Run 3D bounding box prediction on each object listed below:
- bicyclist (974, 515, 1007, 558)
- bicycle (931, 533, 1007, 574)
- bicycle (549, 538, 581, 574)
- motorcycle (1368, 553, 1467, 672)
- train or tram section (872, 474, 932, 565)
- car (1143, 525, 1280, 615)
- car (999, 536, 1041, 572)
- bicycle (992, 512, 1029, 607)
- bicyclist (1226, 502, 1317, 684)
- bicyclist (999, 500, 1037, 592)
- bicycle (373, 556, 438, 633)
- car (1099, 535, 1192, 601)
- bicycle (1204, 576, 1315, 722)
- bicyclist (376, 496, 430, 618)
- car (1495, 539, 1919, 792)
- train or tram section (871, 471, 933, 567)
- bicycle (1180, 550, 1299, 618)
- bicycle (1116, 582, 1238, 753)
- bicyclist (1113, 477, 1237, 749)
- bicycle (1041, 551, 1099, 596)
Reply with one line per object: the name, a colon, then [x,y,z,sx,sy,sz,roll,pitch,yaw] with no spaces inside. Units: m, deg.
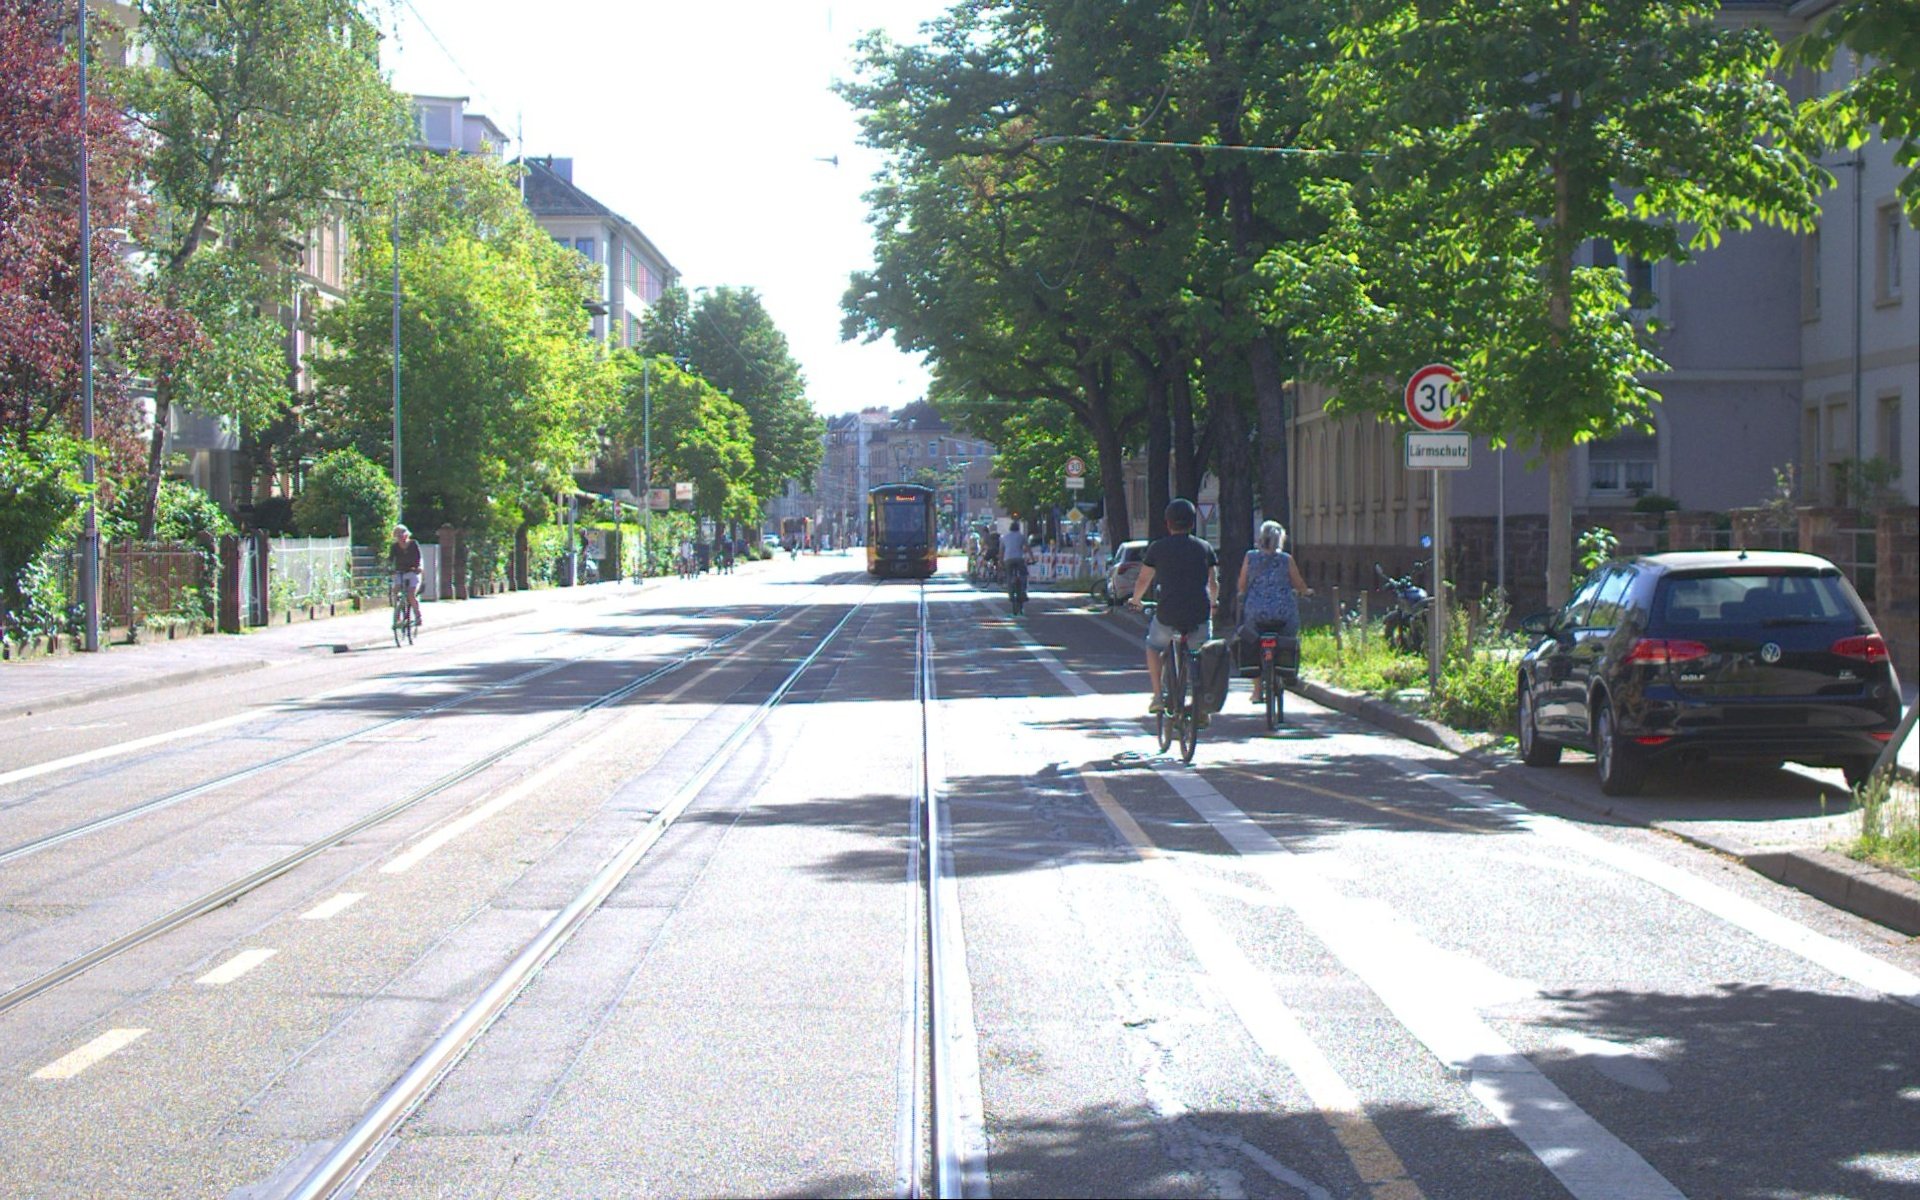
bicyclist: [0.928,-1.921,104.399,0.772,1.287,0.733,2,1,16]
bicycle: [0.270,-1.407,104.648,2.141,1.167,0.802,2,1,15]
bicycle: [-12.244,-1.364,106.519,0.632,1.065,1.832,2,1,-17]
motorcycle: [4.826,0.117,36.320,0.495,1.186,1.862,-3,2,-8]
train or tram section: [-2.272,-3.154,135.030,2.153,3.420,6.612,2,1,-1]
car: [4.119,-0.525,56.999,1.628,1.431,4.666,0,1,-4]
car: [2.760,-2.133,158.730,1.754,1.546,3.677,2,1,-1]
bicycle: [1.013,-0.825,69.061,0.663,1.853,2.260,2,1,1]
bicyclist: [2.575,-0.064,28.450,0.635,1.463,0.616,2,1,-1]
bicyclist: [1.149,-1.069,68.359,0.645,1.789,0.956,2,1,-1]
bicycle: [-8.294,-0.090,51.454,0.692,1.108,1.719,-1,1,-1]
car: [4.071,-0.726,76.002,1.748,1.415,4.000,0,1,-1]
bicycle: [2.450,0.385,28.325,0.692,1.108,1.917,2,1,-1]
bicyclist: [-8.309,-0.640,51.314,0.660,1.795,0.616,-1,0,0]
car: [4.653,0.344,21.943,1.787,1.459,4.045,0,1,-1]
train or tram section: [-2.163,-3.025,128.378,2.153,3.420,6.612,2,1,-1]
bicycle: [4.402,-0.258,54.127,1.792,1.016,0.620,-1,1,-1]
bicycle: [1.506,0.453,24.128,0.692,1.108,1.719,2,1,-1]
bicyclist: [1.494,0.082,23.990,0.727,1.842,0.837,2,1,-1]
bicycle: [2.623,-0.624,81.731,1.270,1.020,0.704,2,0,7]
